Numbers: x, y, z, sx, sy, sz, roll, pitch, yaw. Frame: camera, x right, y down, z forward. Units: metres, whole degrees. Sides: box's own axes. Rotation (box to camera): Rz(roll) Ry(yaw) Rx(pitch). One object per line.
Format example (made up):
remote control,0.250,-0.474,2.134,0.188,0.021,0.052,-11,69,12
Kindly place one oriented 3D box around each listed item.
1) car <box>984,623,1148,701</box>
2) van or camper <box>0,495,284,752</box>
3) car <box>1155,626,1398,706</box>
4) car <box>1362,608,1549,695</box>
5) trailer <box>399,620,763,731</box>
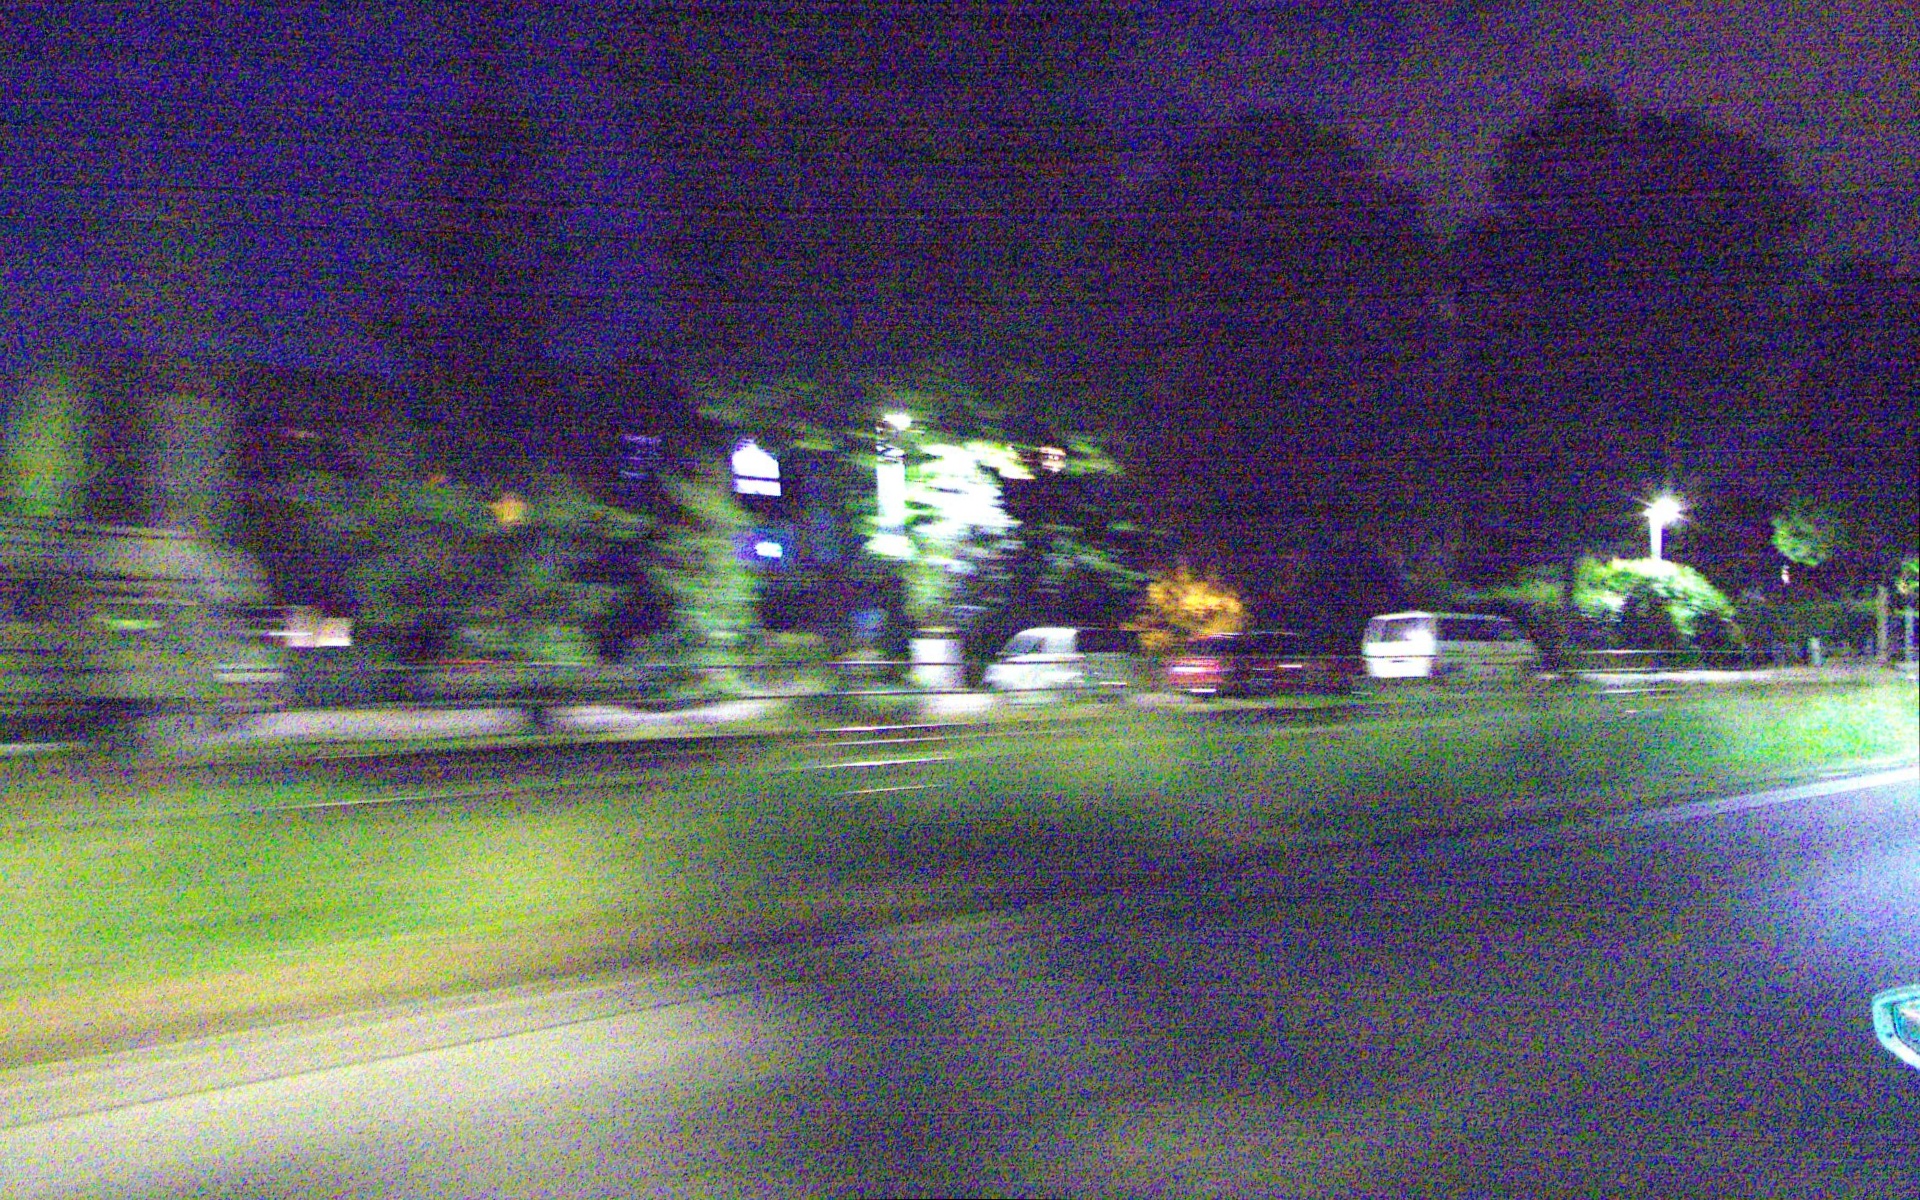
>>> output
car,1.928,1.113,18.960,1.518,1.343,3.010,2,-2,-34
van or camper,-10.968,0.294,11.212,5.605,2.681,2.259,1,-4,-34
car,6.790,1.351,21.398,5.105,1.542,1.895,1,-2,-27
car,12.040,1.206,24.324,4.826,1.929,1.847,2,-2,-32
trailer,-5.415,1.093,14.640,4.592,1.392,2.414,1,-5,-25
